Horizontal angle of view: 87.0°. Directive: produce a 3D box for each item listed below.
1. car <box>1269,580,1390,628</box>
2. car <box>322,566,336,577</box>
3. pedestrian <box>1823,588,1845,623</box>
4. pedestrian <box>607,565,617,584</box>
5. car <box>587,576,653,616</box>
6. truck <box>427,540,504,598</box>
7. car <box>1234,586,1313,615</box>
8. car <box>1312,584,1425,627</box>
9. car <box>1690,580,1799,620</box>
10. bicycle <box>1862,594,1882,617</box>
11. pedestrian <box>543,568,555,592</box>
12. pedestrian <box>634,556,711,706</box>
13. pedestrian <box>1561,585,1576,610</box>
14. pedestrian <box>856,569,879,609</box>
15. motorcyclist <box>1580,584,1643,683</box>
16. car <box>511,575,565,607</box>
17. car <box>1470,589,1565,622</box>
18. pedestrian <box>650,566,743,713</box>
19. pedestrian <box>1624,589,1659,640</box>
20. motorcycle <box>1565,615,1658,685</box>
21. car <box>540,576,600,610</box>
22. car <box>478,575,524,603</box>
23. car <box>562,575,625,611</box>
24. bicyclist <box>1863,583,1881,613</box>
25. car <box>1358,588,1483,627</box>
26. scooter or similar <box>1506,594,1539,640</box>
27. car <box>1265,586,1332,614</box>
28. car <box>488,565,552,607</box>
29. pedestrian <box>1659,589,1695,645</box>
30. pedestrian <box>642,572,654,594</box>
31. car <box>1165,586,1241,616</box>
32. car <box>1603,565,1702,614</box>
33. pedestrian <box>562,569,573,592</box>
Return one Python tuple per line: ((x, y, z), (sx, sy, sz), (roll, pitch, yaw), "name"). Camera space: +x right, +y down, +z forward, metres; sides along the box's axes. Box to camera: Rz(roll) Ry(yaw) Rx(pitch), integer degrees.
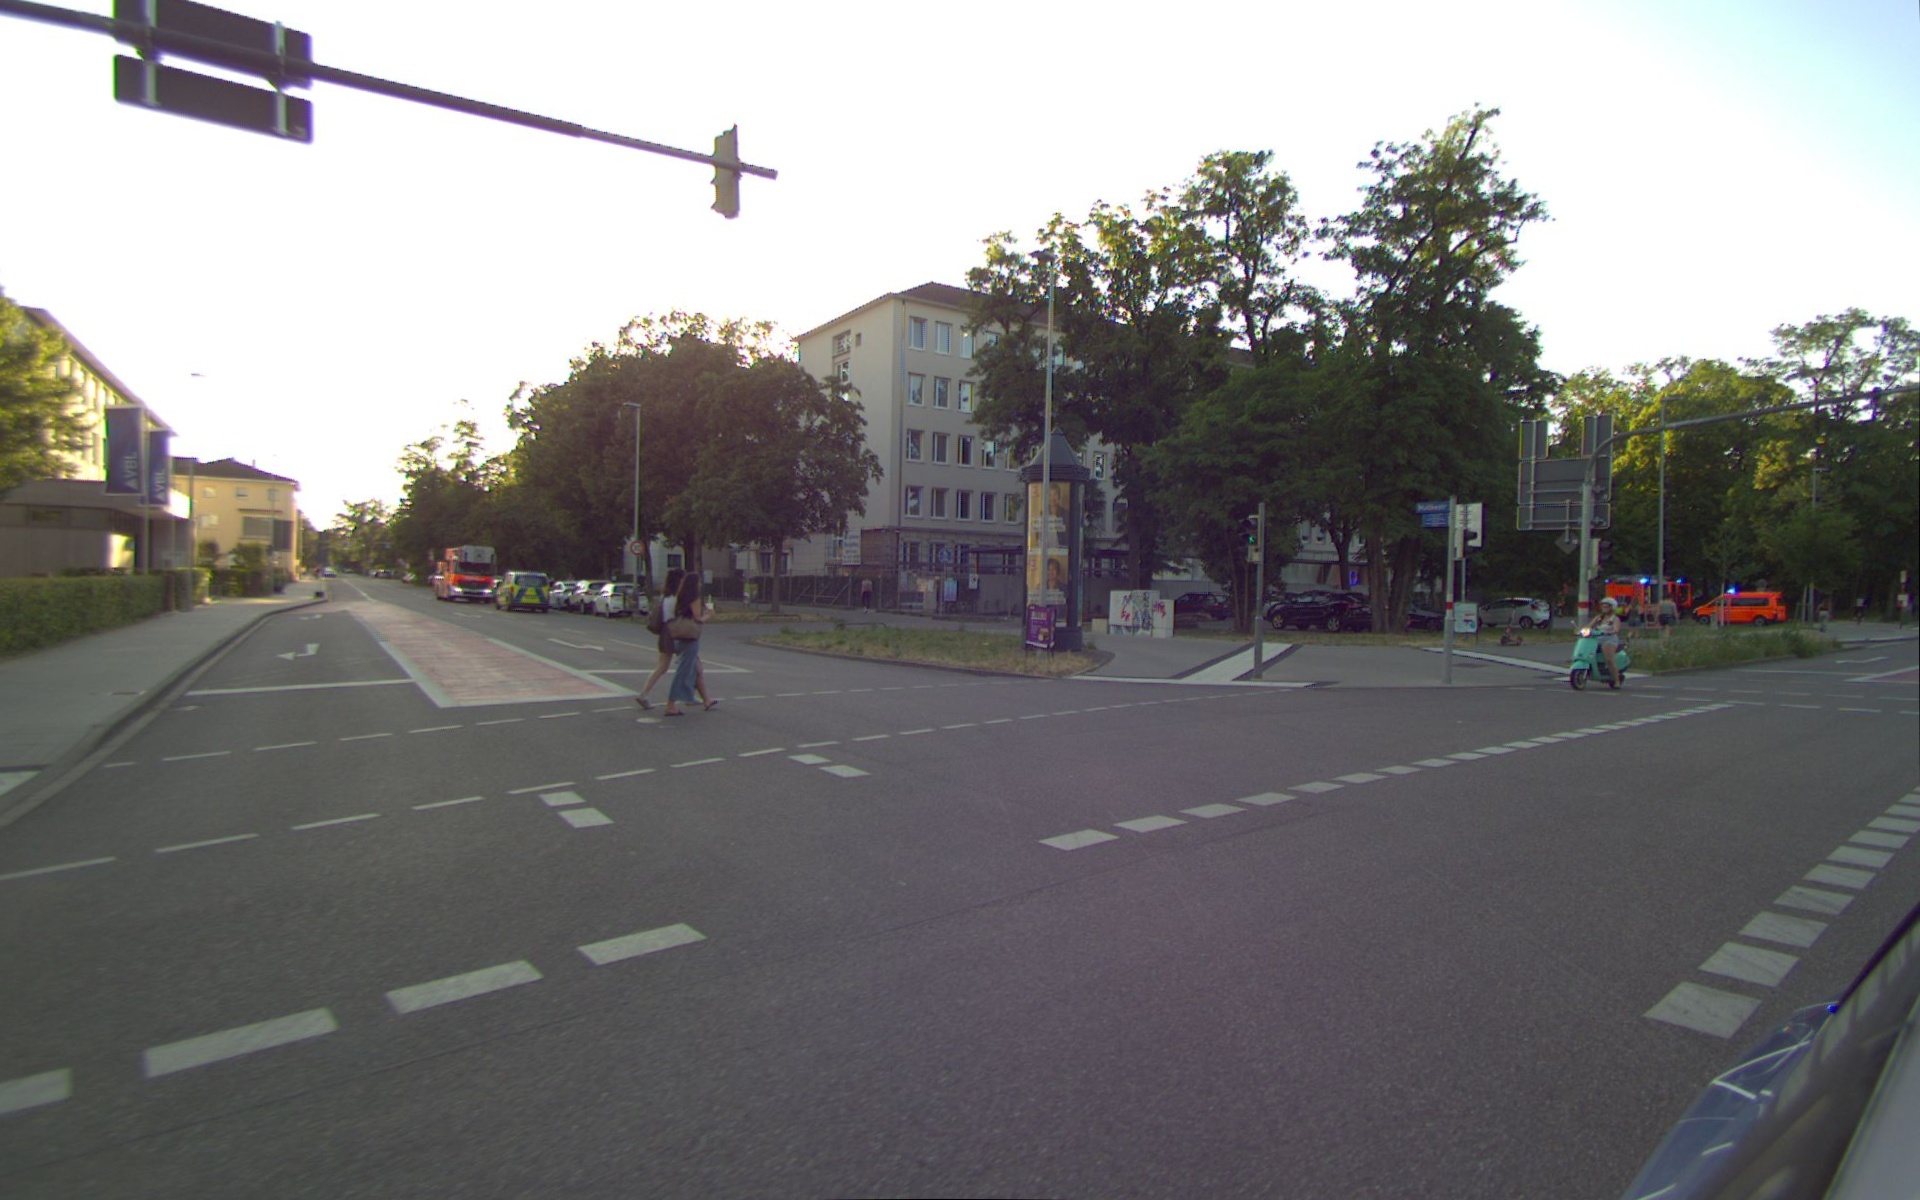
((14.651, 0.118, 40.319), (1.882, 1.762, 4.241), (0, 1, -33), "car")
((-118.674, -5.426, 190.371), (1.960, 2.039, 4.006), (0, 1, -29), "car")
((41.805, 0.282, 48.406), (0.676, 1.643, 0.682), (1, 0, -39), "pedestrian")
((-30.623, -2.245, 89.148), (0.670, 1.642, 0.688), (0, 1, -35), "pedestrian")
((-14.897, -0.206, 44.171), (1.863, 1.660, 4.003), (0, 1, -32), "car")
((-29.878, -1.837, 60.859), (2.591, 3.179, 10.275), (0, 1, -35), "truck")
((17.317, 0.004, 56.073), (1.879, 1.540, 3.921), (0, 1, -30), "car")
((16.877, 0.187, 41.994), (1.881, 1.631, 4.003), (0, 1, -32), "car")
((50.363, -0.061, 65.085), (1.962, 2.422, 5.169), (0, 1, -36), "car")
((51.712, 0.308, 57.389), (1.865, 1.256, 0.571), (0, 1, -39), "bicycle")
((-29.141, -1.413, 71.760), (0.674, 1.642, 0.684), (1, 1, -27), "pedestrian")
((-3.543, 0.356, 12.466), (0.676, 1.776, 0.682), (1, 0, -39), "pedestrian")
((46.005, -0.183, 76.531), (0.830, 1.865, 0.683), (1, 0, -36), "pedestrian")
((-4.182, -0.502, 45.644), (0.690, 1.760, 0.897), (1, 1, -31), "pedestrian")
((11.961, 0.598, 18.577), (0.677, 1.759, 0.741), (1, 0, -31), "motorcyclist")
((-23.525, -0.513, 56.299), (1.962, 1.660, 4.001), (0, 1, -35), "car")
((26.946, 0.256, 48.989), (1.632, 1.477, 3.668), (0, 1, -34), "car")
((-3.091, 0.441, 11.869), (0.830, 1.643, 0.682), (1, 0, -39), "pedestrian")
((21.201, 0.449, 31.489), (0.776, 1.542, 0.735), (0, 1, -45), "pedestrian")
((11.957, 0.883, 18.569), (1.856, 1.213, 0.685), (1, 0, -31), "motorcycle")
((-20.115, -0.393, 52.153), (1.962, 1.660, 4.001), (0, 1, -35), "car")
((-29.415, -0.720, 64.824), (1.962, 1.660, 4.001), (0, 1, -35), "car")
((-17.430, -0.349, 47.978), (1.961, 1.632, 4.002), (0, 1, -33), "car")
((51.667, -0.117, 57.346), (1.019, 1.653, 0.571), (0, 1, -39), "bicyclist")
((19.638, 0.274, 43.313), (1.883, 1.482, 4.520), (0, 1, -36), "car")
((16.408, 0.481, 29.495), (1.158, 1.287, 0.441), (0, 1, -40), "scooter or similar")
((19.167, -0.032, 57.423), (1.734, 1.477, 3.320), (0, 1, -26), "car")
((-21.339, -0.640, 48.984), (2.017, 1.886, 4.495), (0, -1, -35), "car")
((21.825, 0.507, 30.821), (0.763, 1.681, 0.720), (0, 1, -42), "pedestrian")
((-22.969, -1.256, 74.519), (0.670, 1.642, 0.688), (0, 1, -35), "pedestrian")
((12.735, 0.019, 53.205), (1.738, 1.477, 3.626), (0, 1, -37), "car")
((48.691, -0.719, 71.102), (8.135, 3.284, 2.775), (0, 1, -33), "car")
((-28.172, -1.404, 72.628), (0.674, 1.642, 0.684), (1, 1, -27), "pedestrian")
